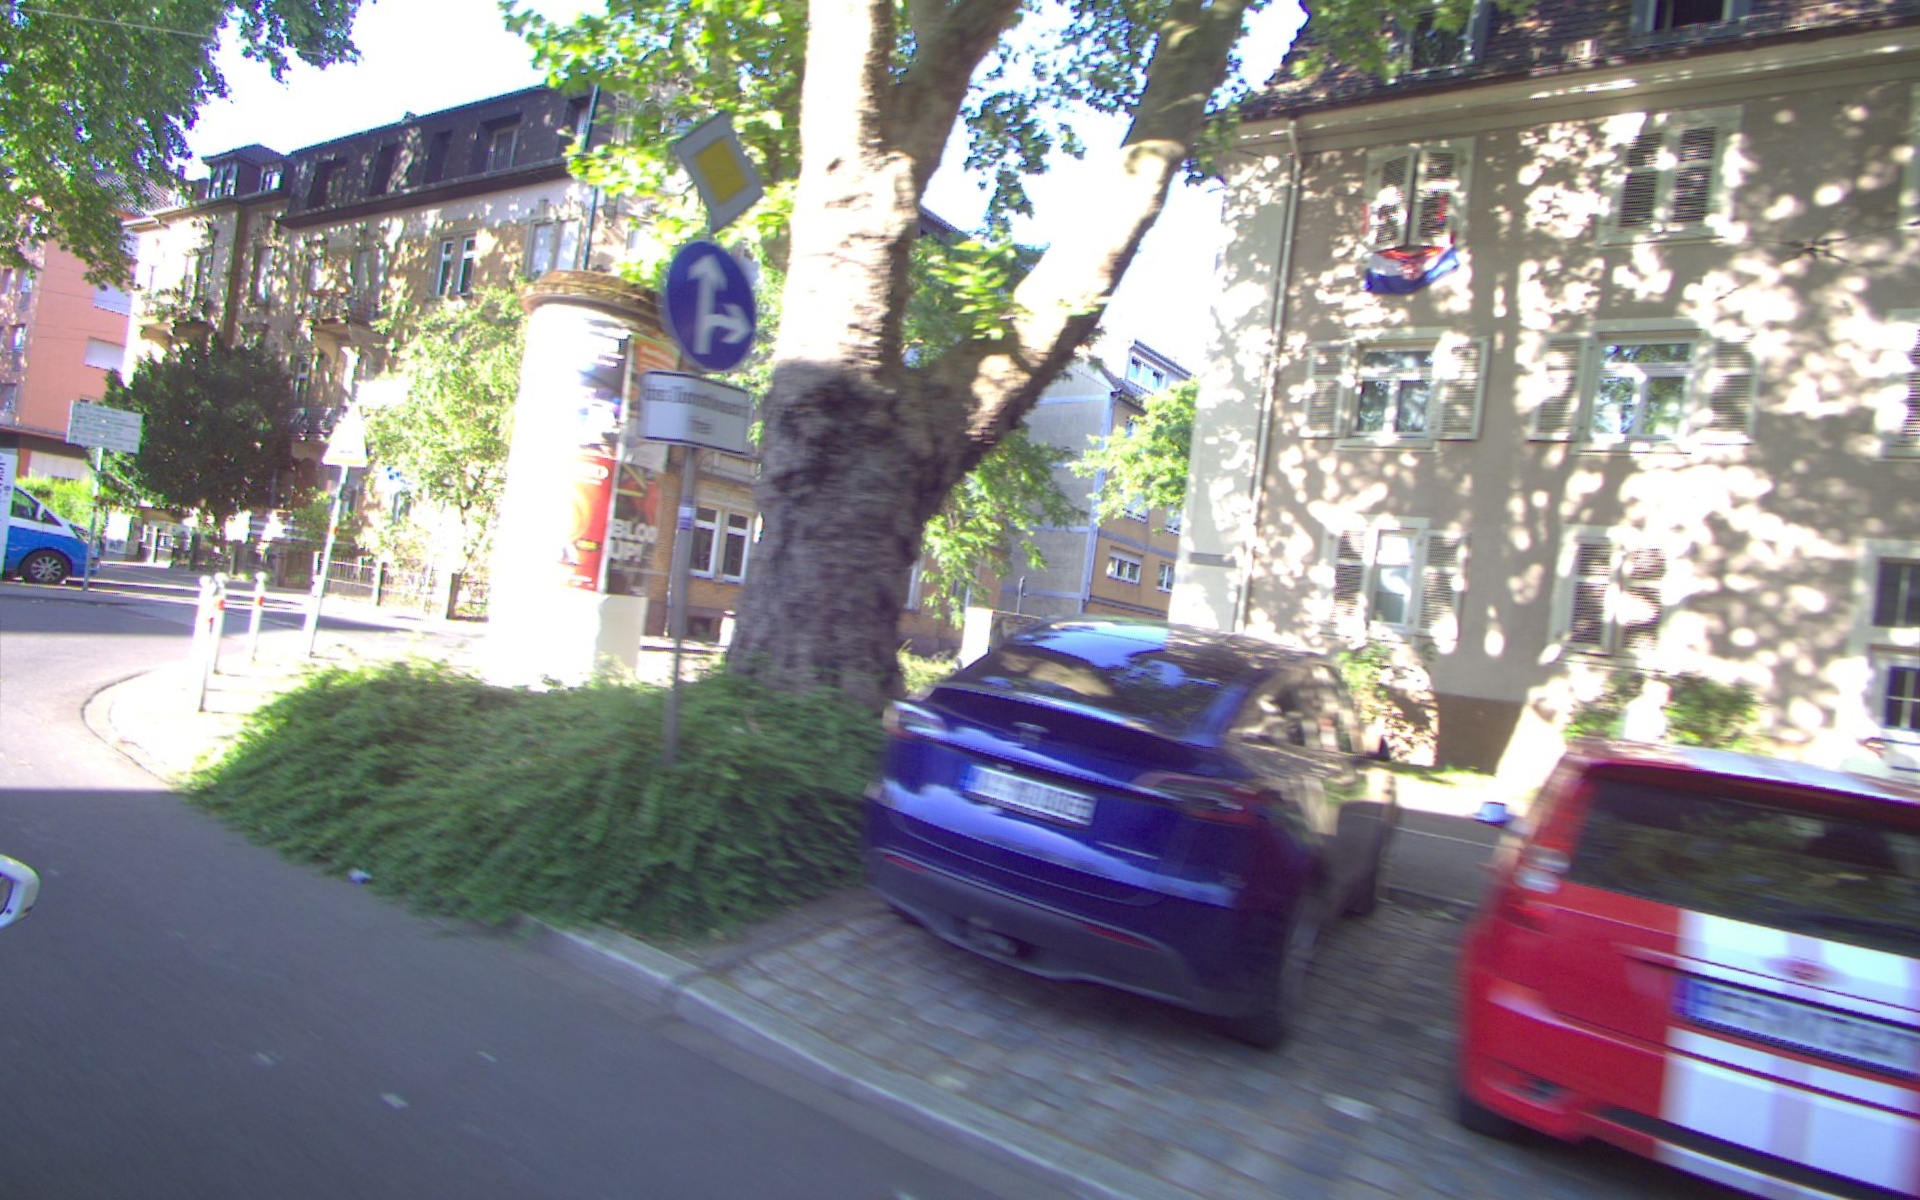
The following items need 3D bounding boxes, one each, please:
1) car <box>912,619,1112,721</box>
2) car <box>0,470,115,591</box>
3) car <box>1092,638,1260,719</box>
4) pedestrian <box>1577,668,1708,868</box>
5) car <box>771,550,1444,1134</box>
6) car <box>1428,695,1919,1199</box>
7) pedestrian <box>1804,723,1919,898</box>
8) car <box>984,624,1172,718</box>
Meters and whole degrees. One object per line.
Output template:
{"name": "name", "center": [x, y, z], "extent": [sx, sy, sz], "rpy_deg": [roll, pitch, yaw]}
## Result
{"name": "car", "center": [1.052, 1.467, 21.569], "extent": [3.944, 1.601, 1.723], "rpy_deg": [6, -1, 41]}
{"name": "car", "center": [-18.462, -1.456, 17.765], "extent": [2.156, 2.038, 4.855], "rpy_deg": [7, 0, 28]}
{"name": "car", "center": [5.770, 2.090, 27.101], "extent": [3.944, 1.601, 1.723], "rpy_deg": [6, -1, 41]}
{"name": "pedestrian", "center": [6.602, 1.609, 9.749], "extent": [0.611, 1.788, 0.639], "rpy_deg": [7, 0, -14]}
{"name": "car", "center": [1.347, 0.917, 5.633], "extent": [1.861, 1.651, 4.806], "rpy_deg": [8, -1, 31]}
{"name": "car", "center": [3.298, 1.296, 4.374], "extent": [1.860, 1.462, 4.366], "rpy_deg": [8, -1, 29]}
{"name": "pedestrian", "center": [8.927, 2.044, 9.857], "extent": [0.611, 1.547, 0.639], "rpy_deg": [7, -1, -14]}
{"name": "car", "center": [2.691, 1.627, 23.483], "extent": [3.944, 1.601, 1.723], "rpy_deg": [6, -1, 41]}
